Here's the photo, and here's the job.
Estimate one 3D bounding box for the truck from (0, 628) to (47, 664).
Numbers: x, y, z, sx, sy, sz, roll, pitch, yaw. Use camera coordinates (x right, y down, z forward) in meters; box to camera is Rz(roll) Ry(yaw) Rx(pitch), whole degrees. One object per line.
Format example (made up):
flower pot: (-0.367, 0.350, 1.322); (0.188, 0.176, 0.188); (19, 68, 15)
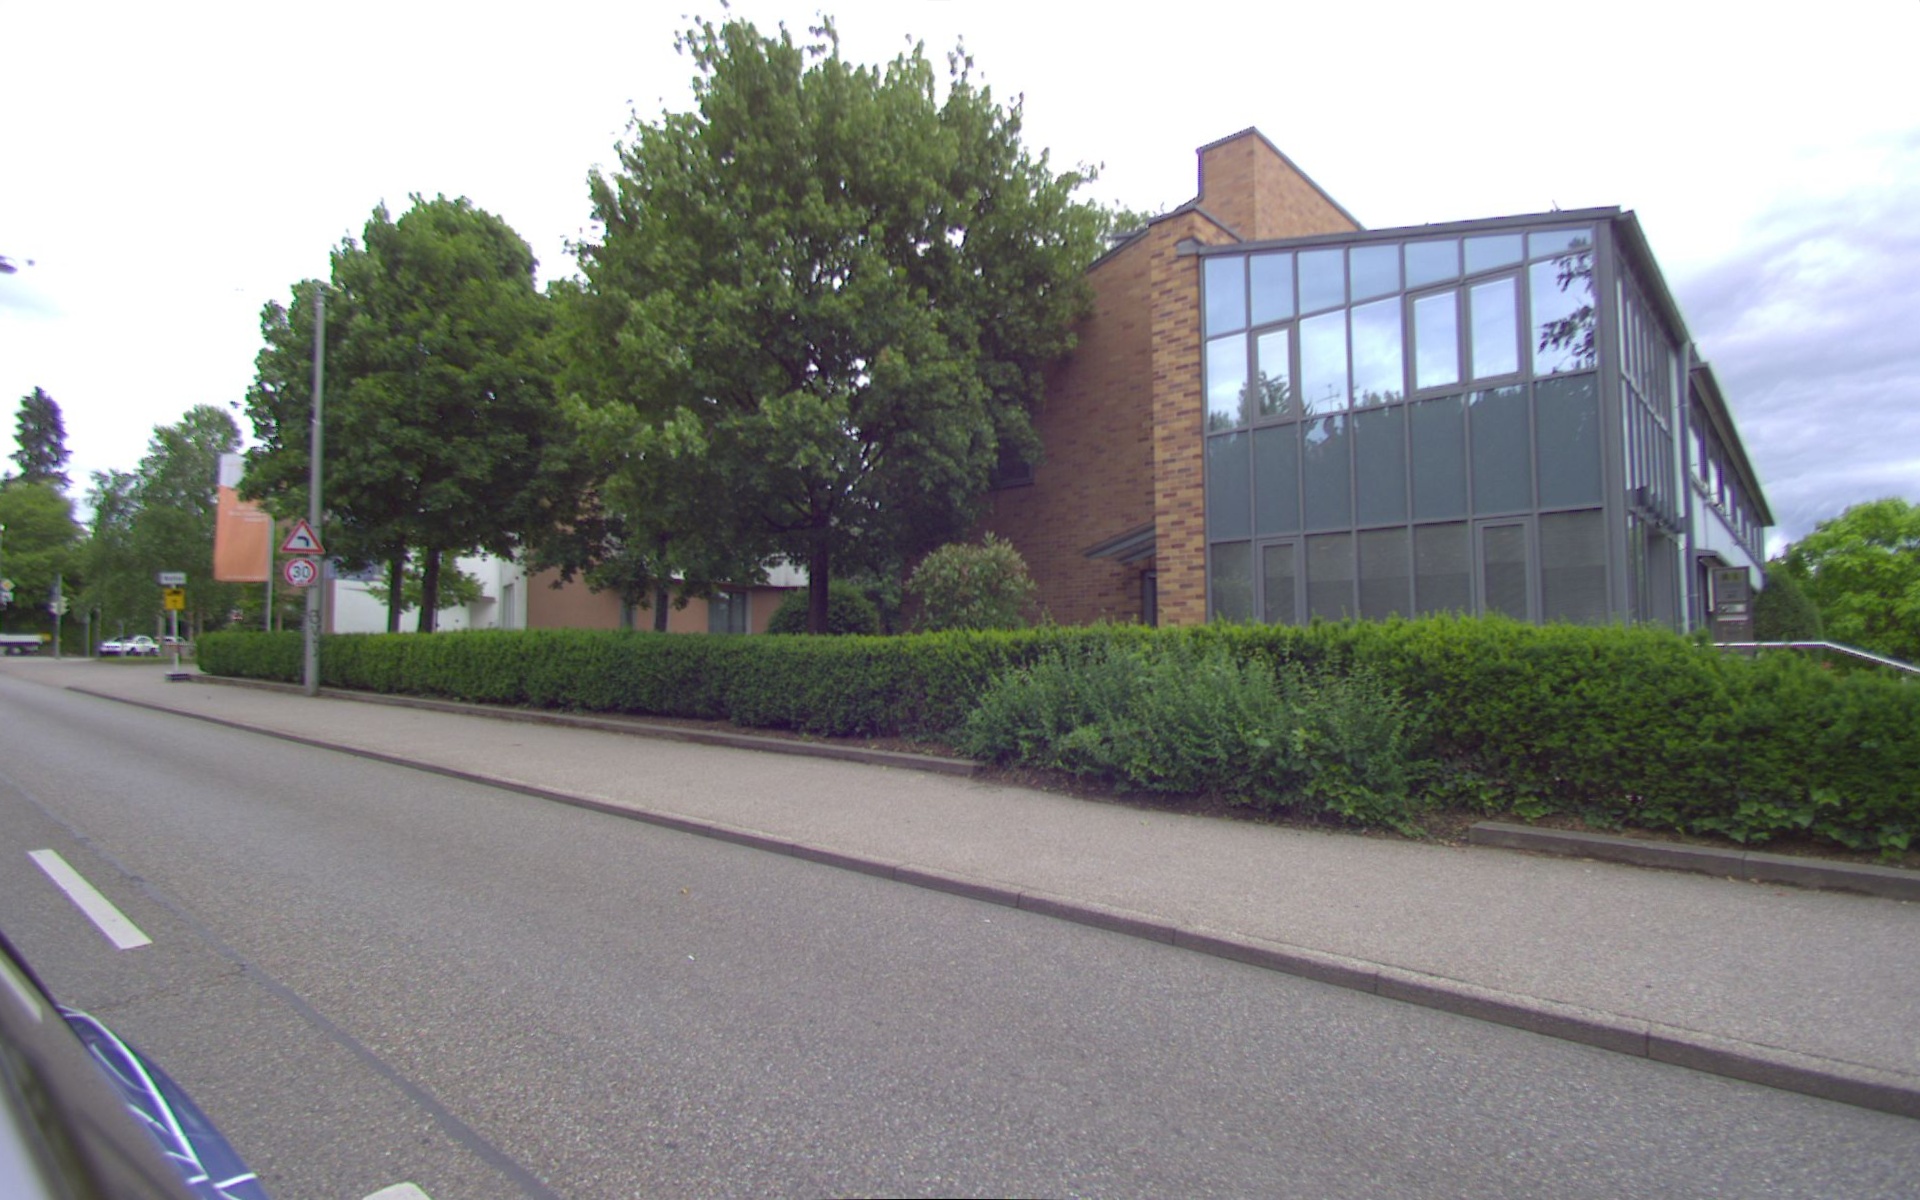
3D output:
truck: (-61.924, 2.808, 63.521); (6.610, 2.205, 2.534); (5, -5, -39)

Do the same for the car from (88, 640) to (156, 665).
car: (-58.768, 3.731, 71.052); (1.967, 1.625, 4.009); (2, -4, -11)
